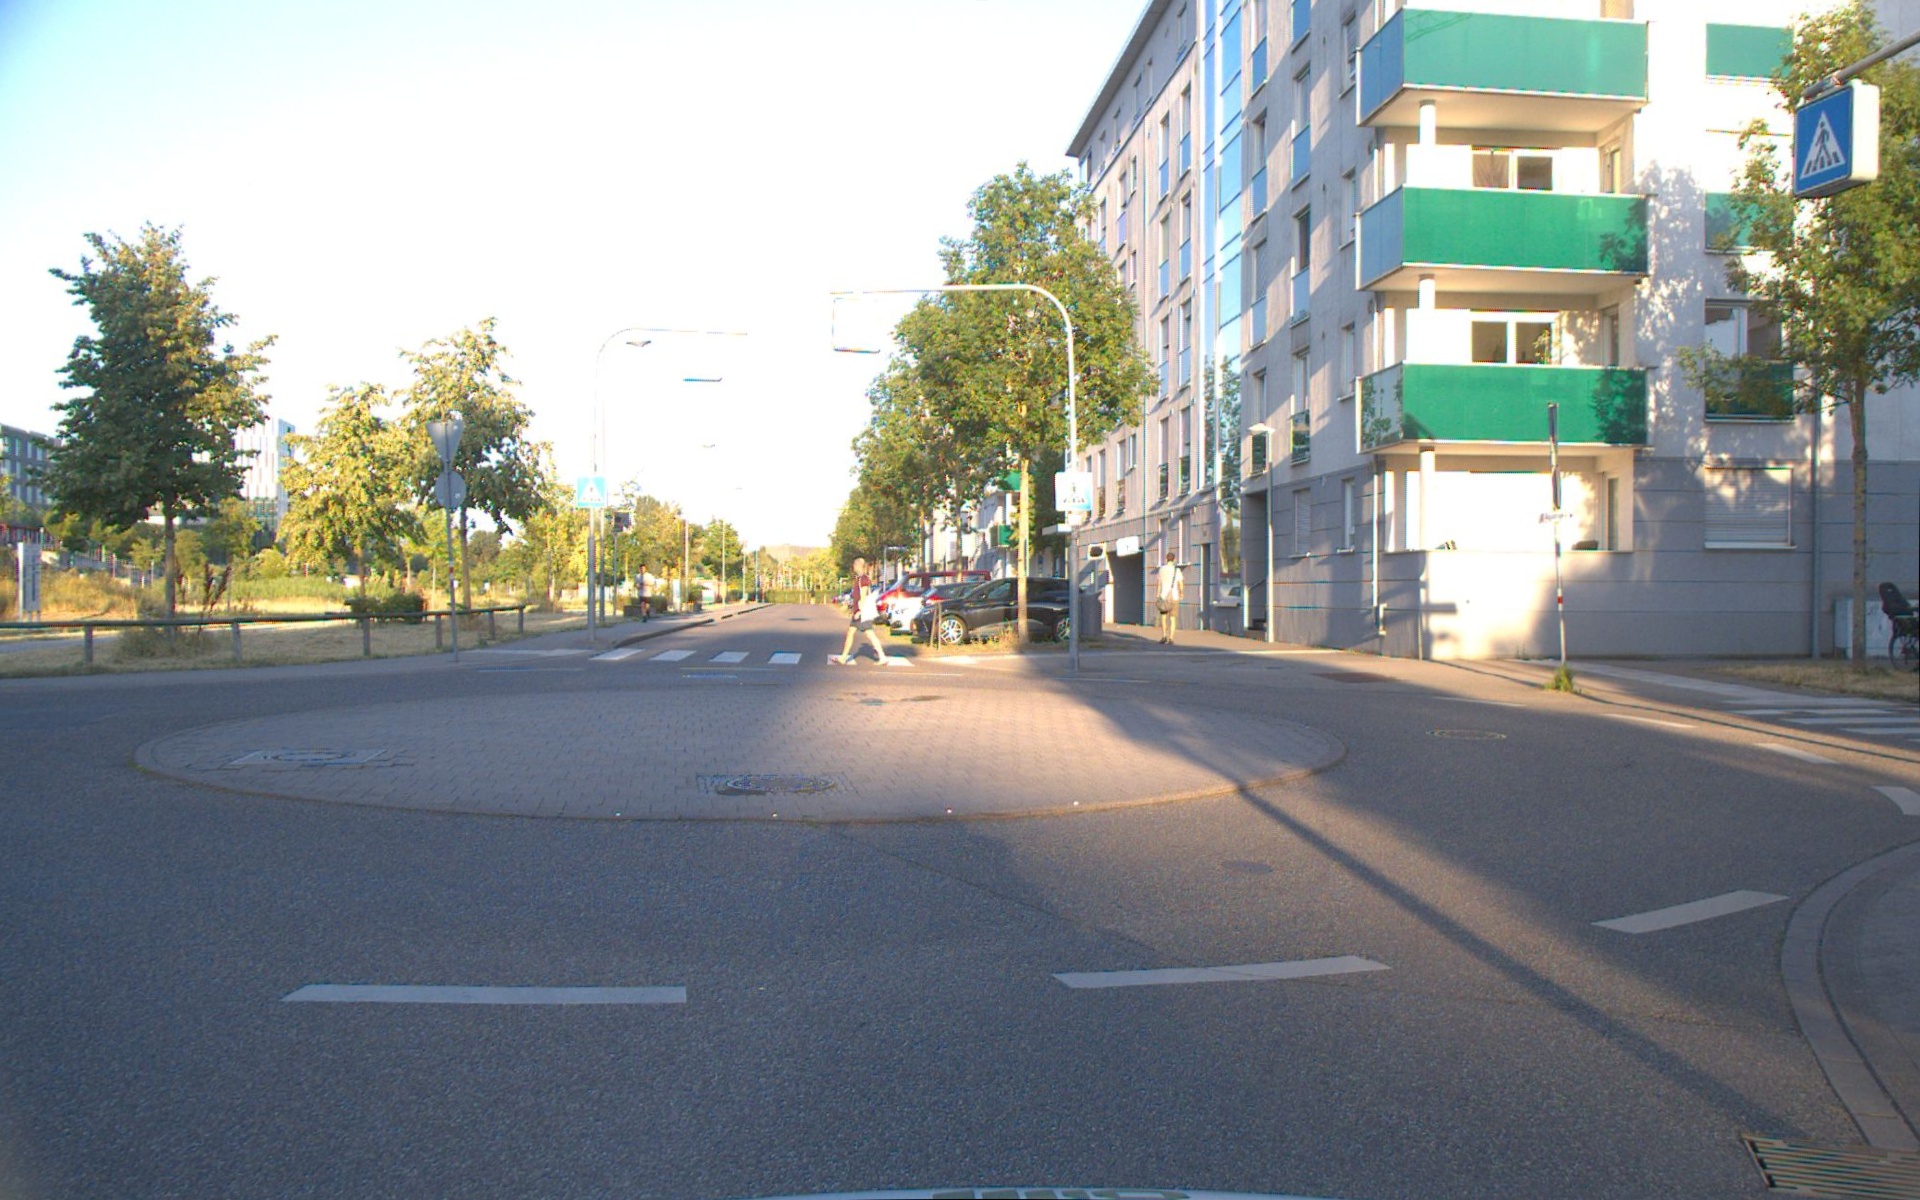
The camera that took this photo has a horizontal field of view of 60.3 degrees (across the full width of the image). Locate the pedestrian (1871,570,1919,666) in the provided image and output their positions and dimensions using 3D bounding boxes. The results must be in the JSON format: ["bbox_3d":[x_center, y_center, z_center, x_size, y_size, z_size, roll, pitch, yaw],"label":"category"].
[{"bbox_3d":[13.983,0.257,24.362,0.645,1.379,0.801,0,0,-8],"label":"pedestrian"}]

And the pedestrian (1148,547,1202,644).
[{"bbox_3d":[4.560,-0.100,35.140,0.923,2.049,0.847,0,0,-9],"label":"pedestrian"}]

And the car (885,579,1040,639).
[{"bbox_3d":[0.022,0.233,45.782,4.179,1.624,1.998,0,0,-4],"label":"car"}]

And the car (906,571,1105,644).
[{"bbox_3d":[0.988,0.152,37.913,4.396,1.624,1.998,0,0,-4],"label":"car"}]

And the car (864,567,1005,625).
[{"bbox_3d":[-0.973,-0.157,60.995,4.911,2.081,2.245,0,0,-10],"label":"car"}]

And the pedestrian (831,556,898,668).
[{"bbox_3d":[-1.600,0.202,27.623,0.985,1.819,0.760,1,0,-12],"label":"pedestrian"}]

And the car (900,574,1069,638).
[{"bbox_3d":[0.598,0.148,43.090,4.269,1.624,1.998,0,0,-4],"label":"car"}]

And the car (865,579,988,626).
[{"bbox_3d":[-1.198,0.077,57.921,4.181,1.624,1.998,0,0,-6],"label":"car"}]

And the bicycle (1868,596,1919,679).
[{"bbox_3d":[14.086,0.537,23.569,0.683,1.171,2.457,0,0,-8],"label":"bicycle"}]

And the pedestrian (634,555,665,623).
[{"bbox_3d":[-9.467,-0.348,50.440,0.852,2.049,0.786,0,0,-16],"label":"pedestrian"}]
